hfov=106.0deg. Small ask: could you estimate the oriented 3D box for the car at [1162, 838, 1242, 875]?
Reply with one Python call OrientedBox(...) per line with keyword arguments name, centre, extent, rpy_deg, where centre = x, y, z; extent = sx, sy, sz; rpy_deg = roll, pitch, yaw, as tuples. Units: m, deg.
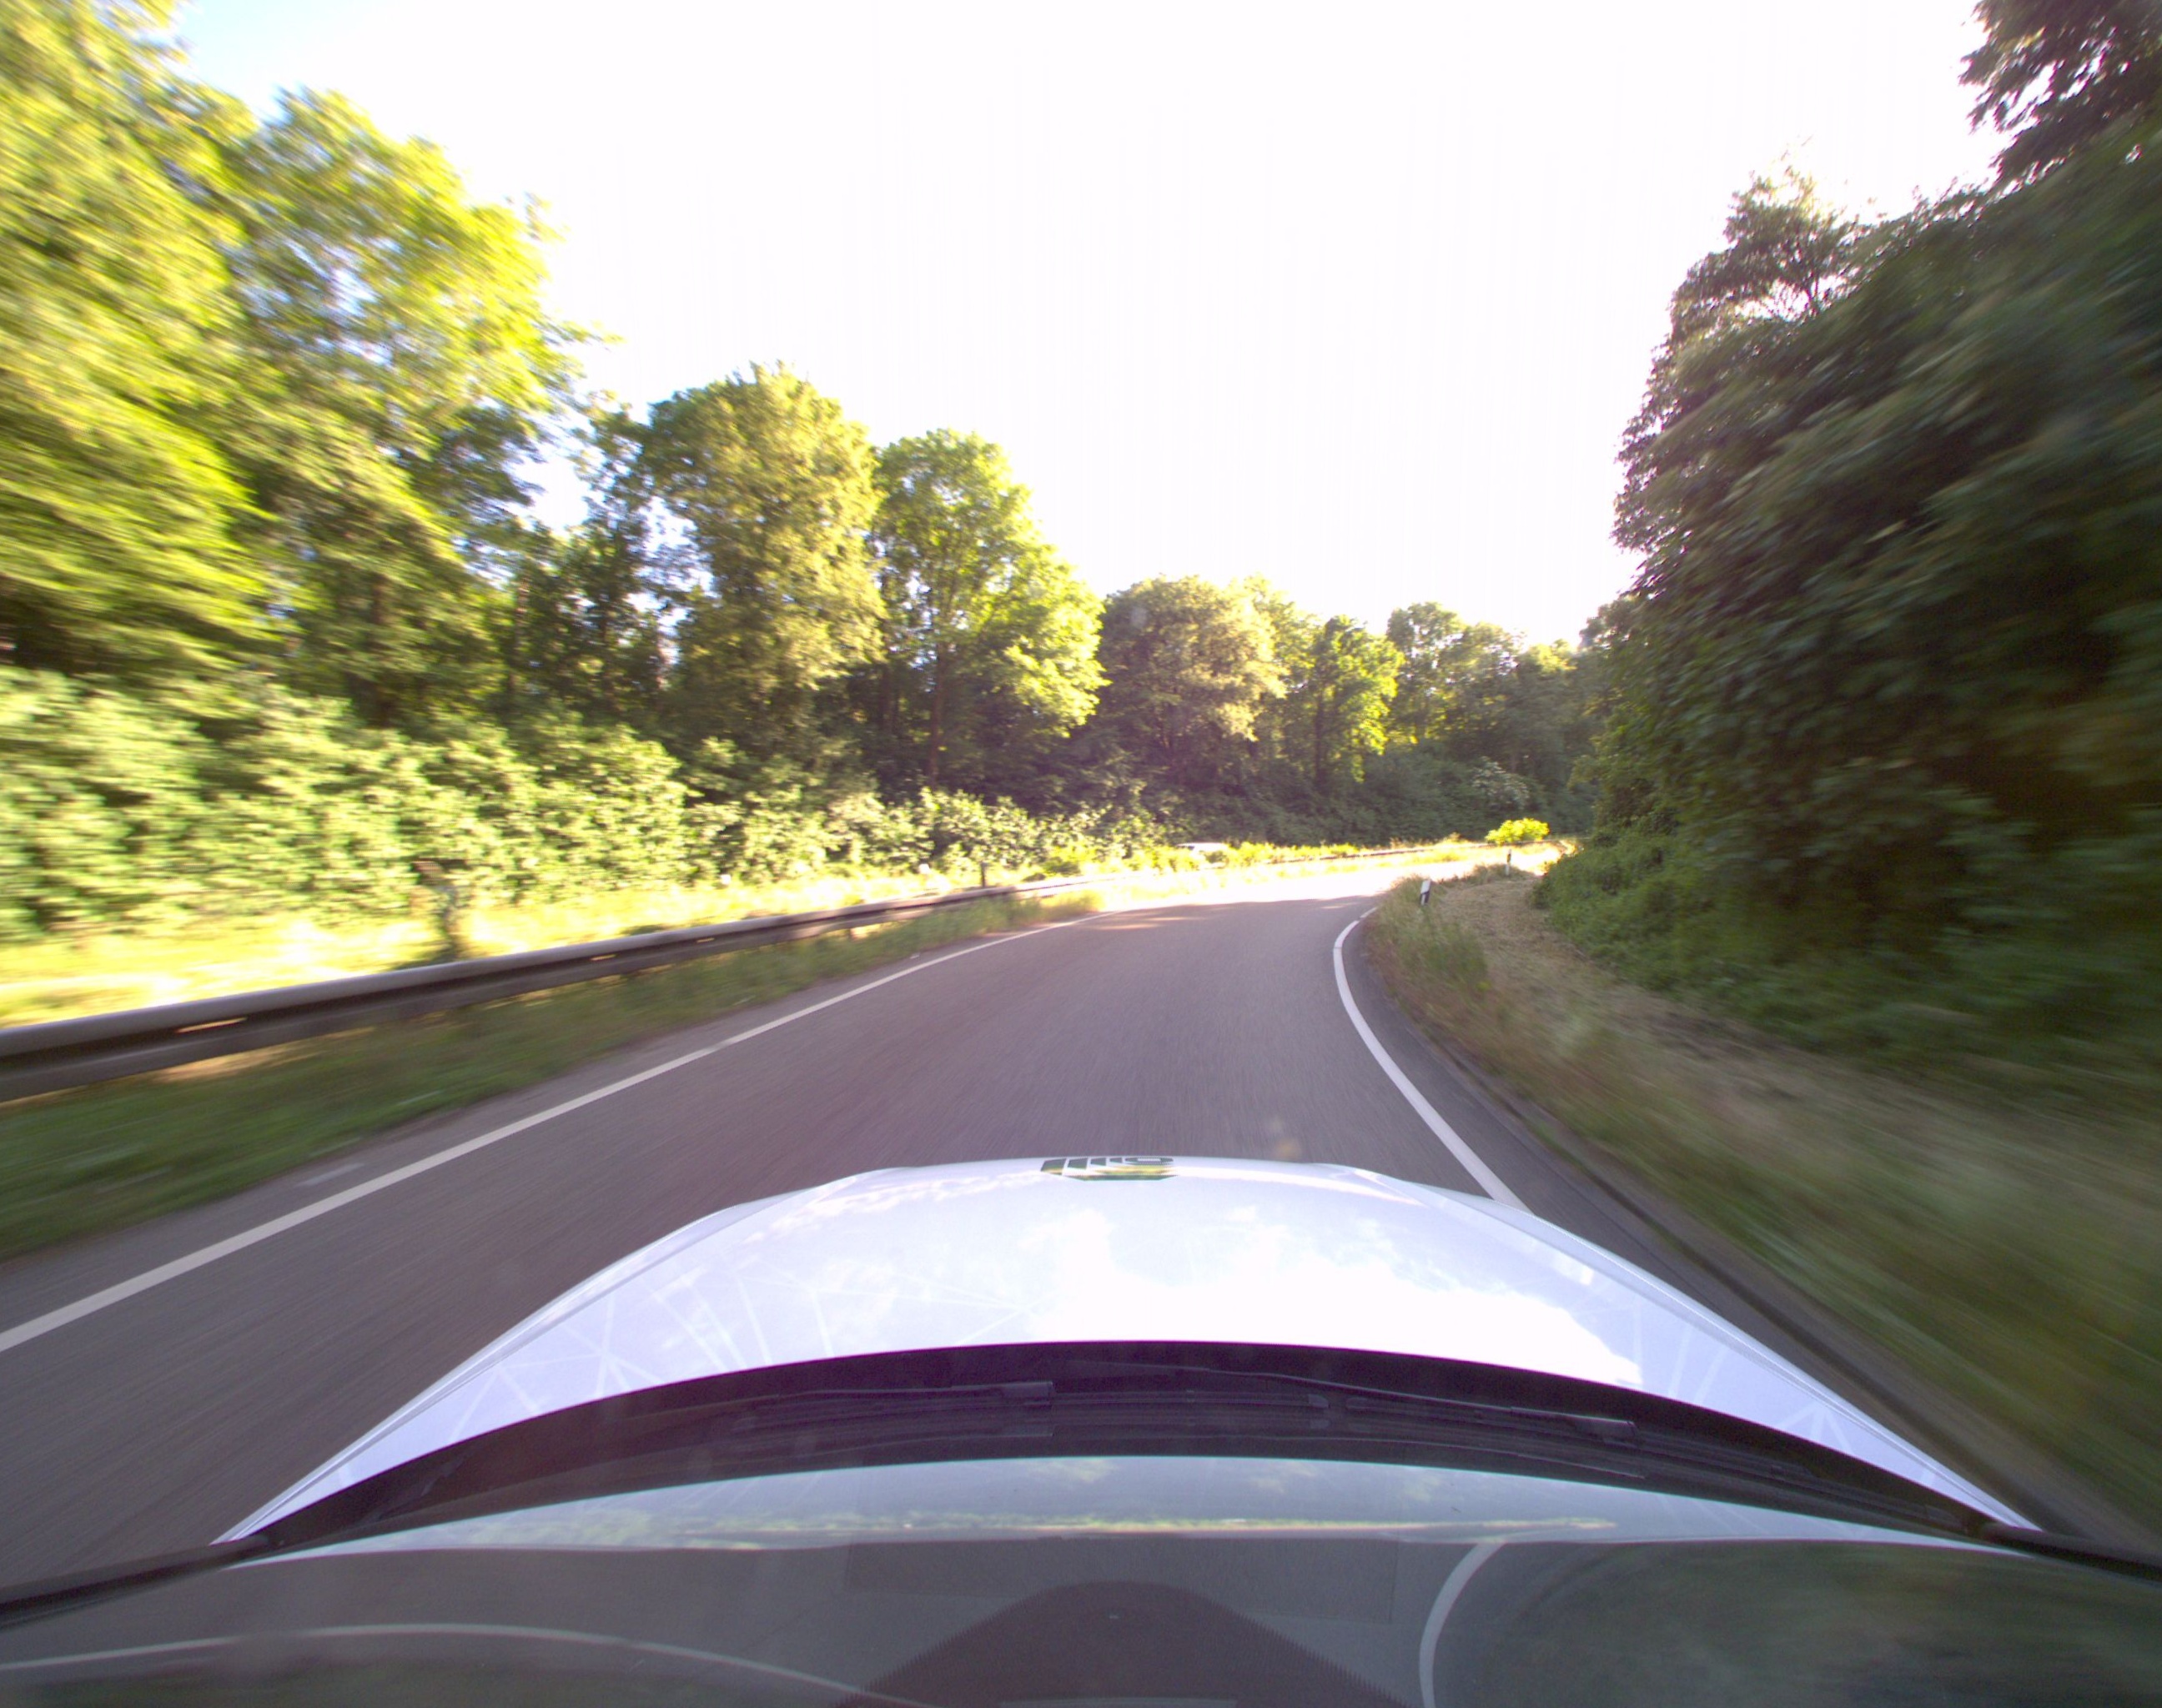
OrientedBox(name="car", centre=(5.447, 0.067, 36.252), extent=(1.704, 1.487, 4.026), rpy_deg=(-2, 0, 38))
